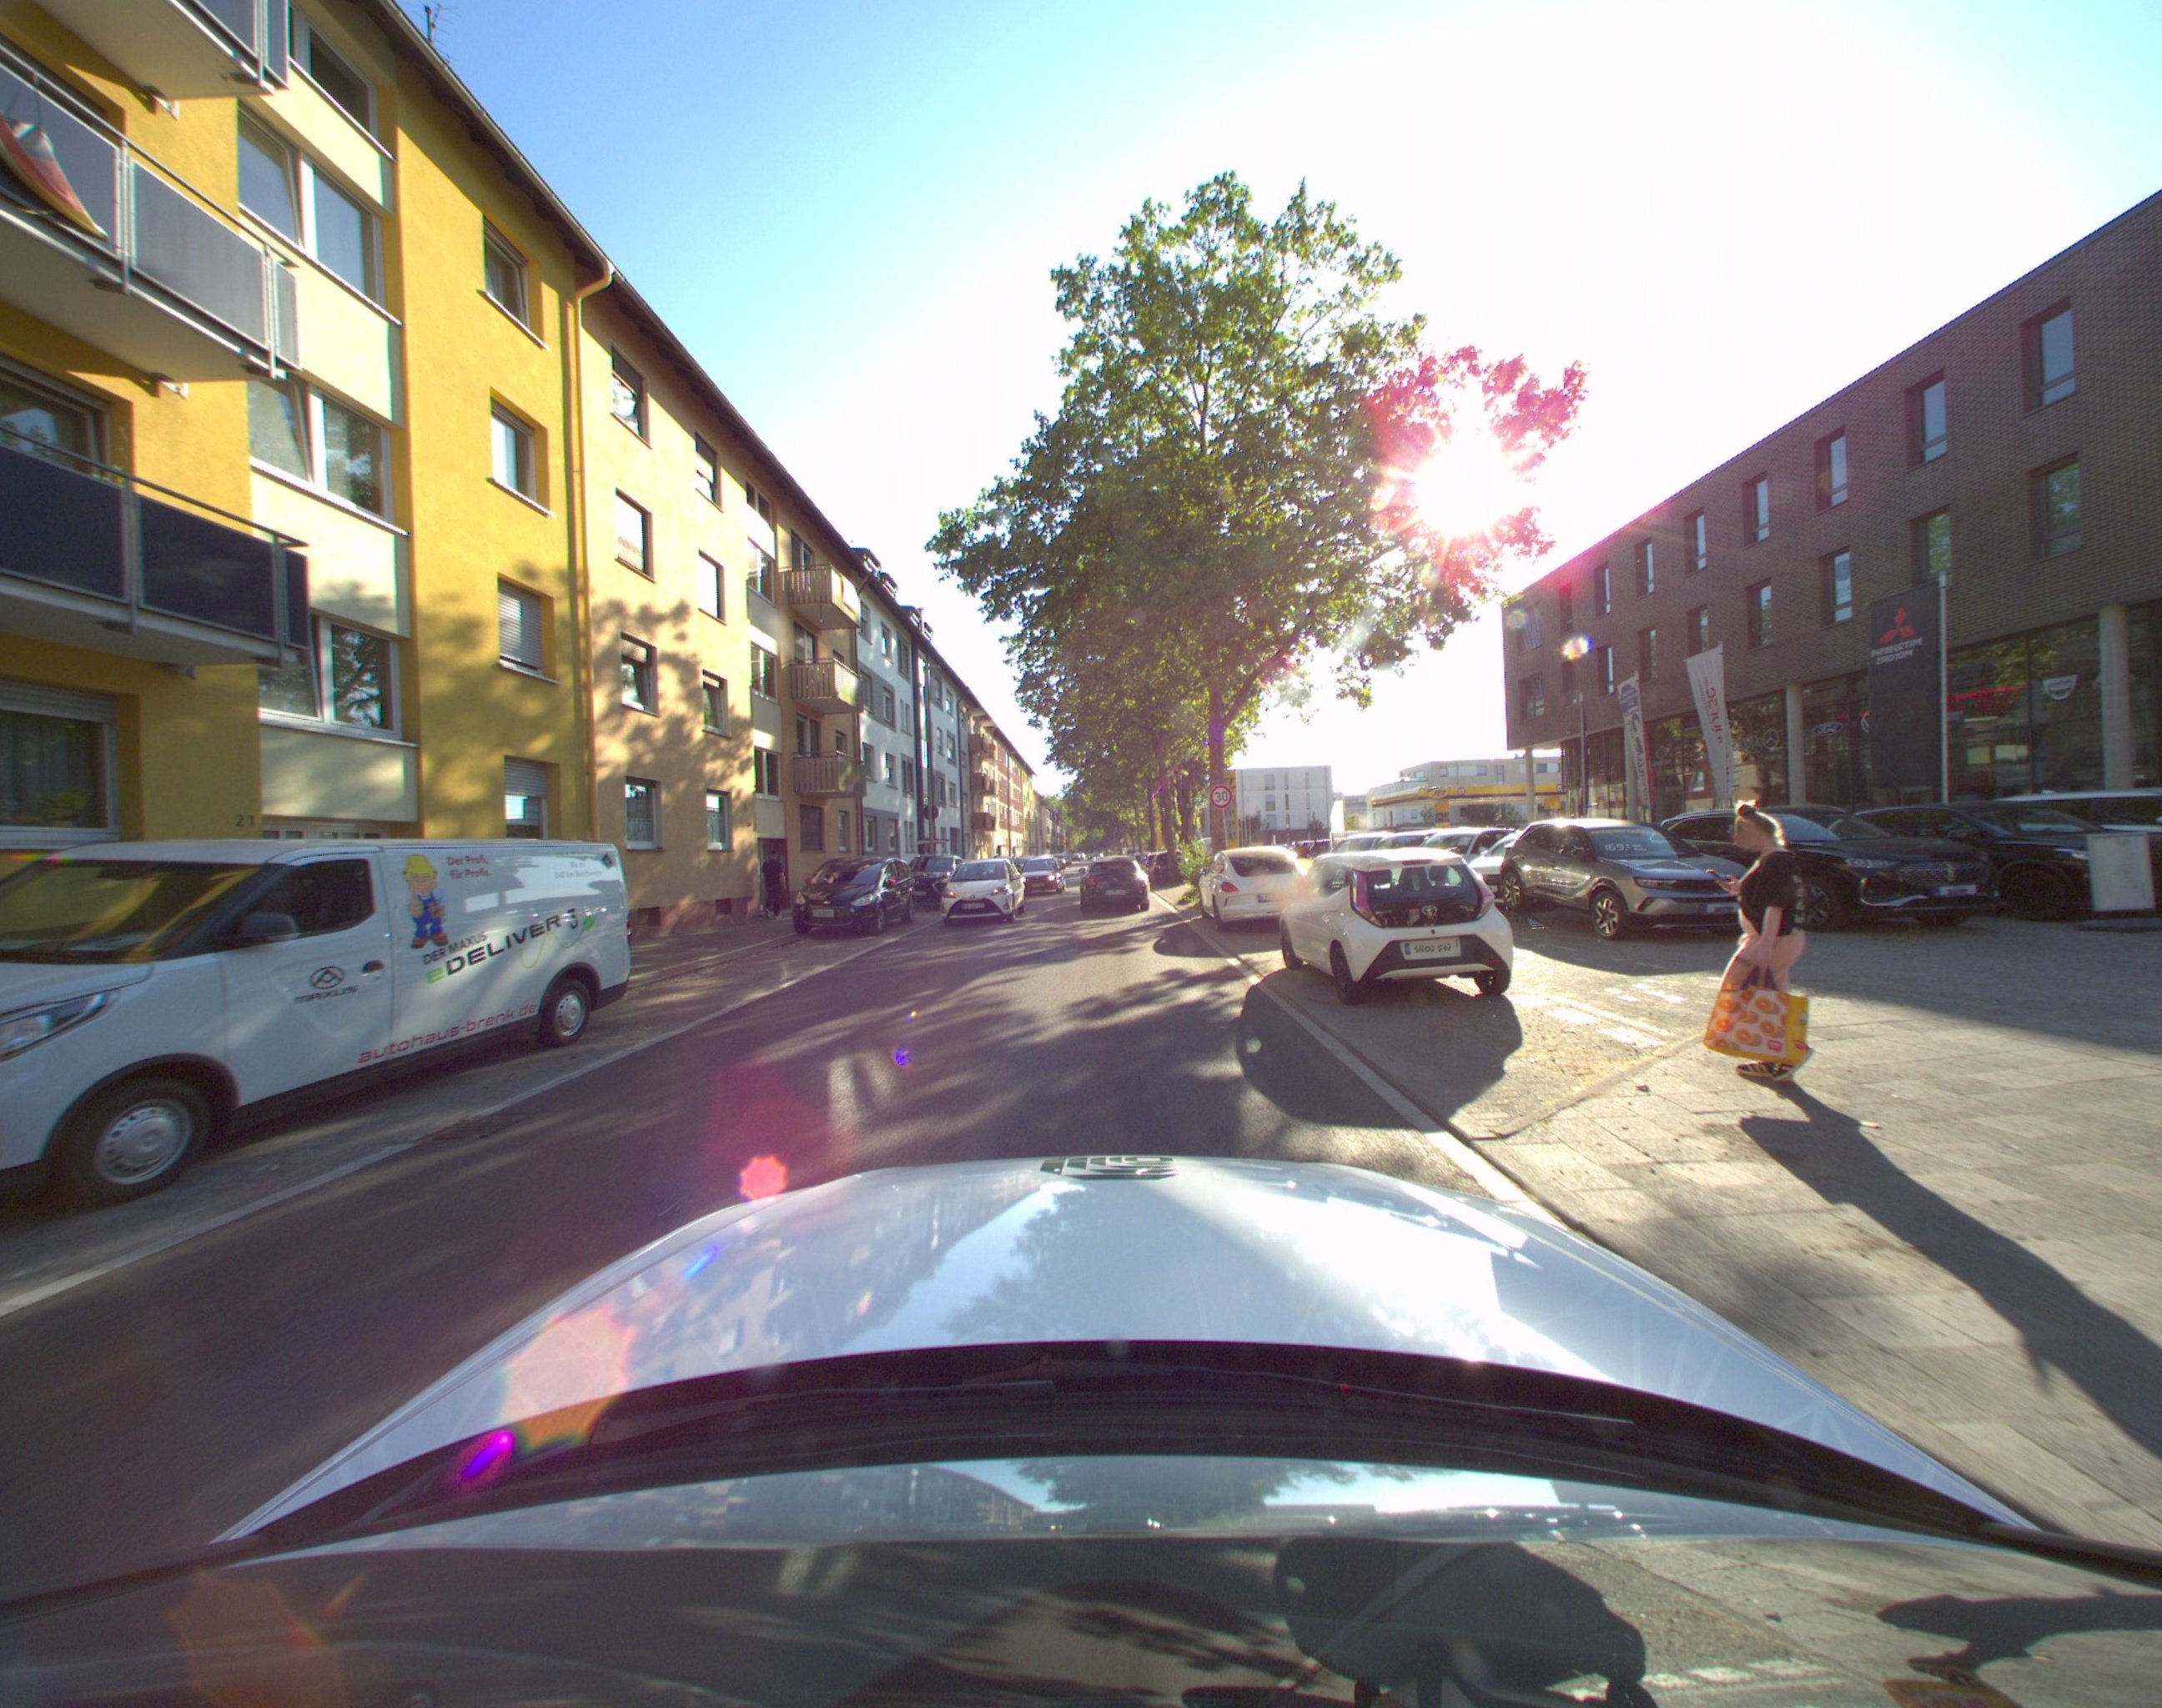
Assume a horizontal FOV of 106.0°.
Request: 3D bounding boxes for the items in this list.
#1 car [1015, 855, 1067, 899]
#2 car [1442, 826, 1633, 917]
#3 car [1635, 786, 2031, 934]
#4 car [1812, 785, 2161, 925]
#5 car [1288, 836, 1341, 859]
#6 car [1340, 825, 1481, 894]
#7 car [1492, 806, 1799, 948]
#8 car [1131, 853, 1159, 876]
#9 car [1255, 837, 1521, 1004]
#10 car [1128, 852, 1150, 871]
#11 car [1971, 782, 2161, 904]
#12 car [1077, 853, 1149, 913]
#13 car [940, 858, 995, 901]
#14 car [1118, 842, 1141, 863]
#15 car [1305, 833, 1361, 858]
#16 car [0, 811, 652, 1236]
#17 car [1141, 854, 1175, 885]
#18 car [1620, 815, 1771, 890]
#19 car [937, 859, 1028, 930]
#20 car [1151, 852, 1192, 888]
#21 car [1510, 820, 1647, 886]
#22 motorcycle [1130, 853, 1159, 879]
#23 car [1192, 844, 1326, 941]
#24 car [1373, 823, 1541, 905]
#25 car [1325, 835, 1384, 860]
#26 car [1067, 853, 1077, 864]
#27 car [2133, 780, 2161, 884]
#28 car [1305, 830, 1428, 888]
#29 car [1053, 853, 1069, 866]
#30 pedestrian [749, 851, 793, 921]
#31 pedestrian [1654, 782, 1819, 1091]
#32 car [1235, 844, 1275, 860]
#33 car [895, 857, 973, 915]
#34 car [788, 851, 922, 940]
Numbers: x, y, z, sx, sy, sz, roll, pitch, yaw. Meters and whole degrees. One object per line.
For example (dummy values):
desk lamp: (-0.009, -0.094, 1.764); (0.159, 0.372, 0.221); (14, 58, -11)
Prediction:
car: (-1.544, 0.882, 32.825); (1.657, 1.523, 4.414); (-4, 0, 2)
car: (9.199, 0.295, 16.338); (3.833, 1.545, 1.646); (-3, 0, -32)
car: (10.677, 0.067, 12.133); (1.820, 1.731, 4.367); (-3, 0, 0)
car: (13.572, -0.021, 12.038); (1.721, 1.684, 4.180); (-3, 0, 0)
car: (19.429, -0.517, 67.718); (3.834, 1.711, 1.830); (-3, 0, -17)
car: (8.969, 0.118, 22.078); (3.836, 1.578, 1.722); (-4, 1, -36)
car: (8.012, 0.275, 12.129); (1.745, 1.669, 4.160); (-3, 0, 2)
car: (4.452, 0.719, 57.141); (1.716, 1.557, 3.601); (-1, 0, 1)
car: (3.327, 0.644, 9.706); (1.629, 1.468, 4.021); (-4, -1, 1)
car: (4.884, 0.616, 69.200); (1.627, 1.557, 3.601); (-1, 0, 1)
car: (16.238, -0.195, 11.886); (1.870, 1.733, 4.180); (-3, 0, 0)
car: (0.959, 0.726, 22.256); (1.736, 1.443, 3.975); (-1, 0, 6)
car: (-4.392, 0.959, 31.978); (1.542, 1.523, 4.005); (-1, 0, 1)
car: (4.884, -0.133, 82.388); (1.988, 2.014, 3.997); (-2, -1, -1)
car: (19.470, -0.649, 62.865); (3.845, 1.711, 1.825); (-3, 0, -26)
car: (-5.603, 0.767, 6.130); (1.727, 1.907, 5.213); (-1, 0, 3)
car: (4.108, 0.822, 43.881); (1.554, 1.596, 3.601); (-1, 0, 1)
car: (14.591, -0.070, 19.289); (3.835, 1.511, 1.626); (-4, 1, -34)
car: (-2.371, 0.934, 20.471); (1.633, 1.523, 3.936); (-2, 0, 2)
car: (4.143, 0.729, 37.842); (1.554, 1.596, 3.601); (-1, 0, 1)
car: (13.345, -0.042, 21.808); (3.835, 1.511, 1.626); (-4, 1, -34)
motorcycle: (3.889, 0.703, 49.919); (1.647, 1.557, 0.607); (-1, -1, -20)
car: (3.401, 0.683, 16.435); (1.803, 1.538, 4.586); (-5, -1, 3)
car: (8.762, 0.188, 18.893); (3.835, 1.609, 1.723); (-4, 1, -34)
car: (19.585, -0.490, 58.358); (3.845, 1.588, 1.684); (-3, 0, -26)
car: (-1.771, 0.932, 166.197); (1.900, 1.948, 4.000); (-2, -1, 1)
car: (18.883, -0.401, 11.785); (1.978, 1.733, 4.184); (-3, 0, 3)
car: (9.069, 0.127, 25.796); (3.836, 1.578, 1.727); (-4, 1, -36)
car: (-2.480, 0.657, 100.903); (1.706, 1.562, 3.803); (1, 0, 2)
pedestrian: (-8.083, 0.820, 21.261); (0.763, 1.769, 0.933); (0, 0, 1)
pedestrian: (4.062, 0.458, 5.041); (0.685, 1.723, 0.726); (-3, 0, 42)
car: (19.176, -0.220, 89.694); (3.974, 1.529, 1.807); (-2, -1, 0)
car: (-4.595, 0.934, 25.961); (1.591, 1.641, 4.413); (-1, 0, 1)
car: (-5.037, 0.833, 18.820); (1.739, 1.787, 4.550); (-1, 0, 1)
